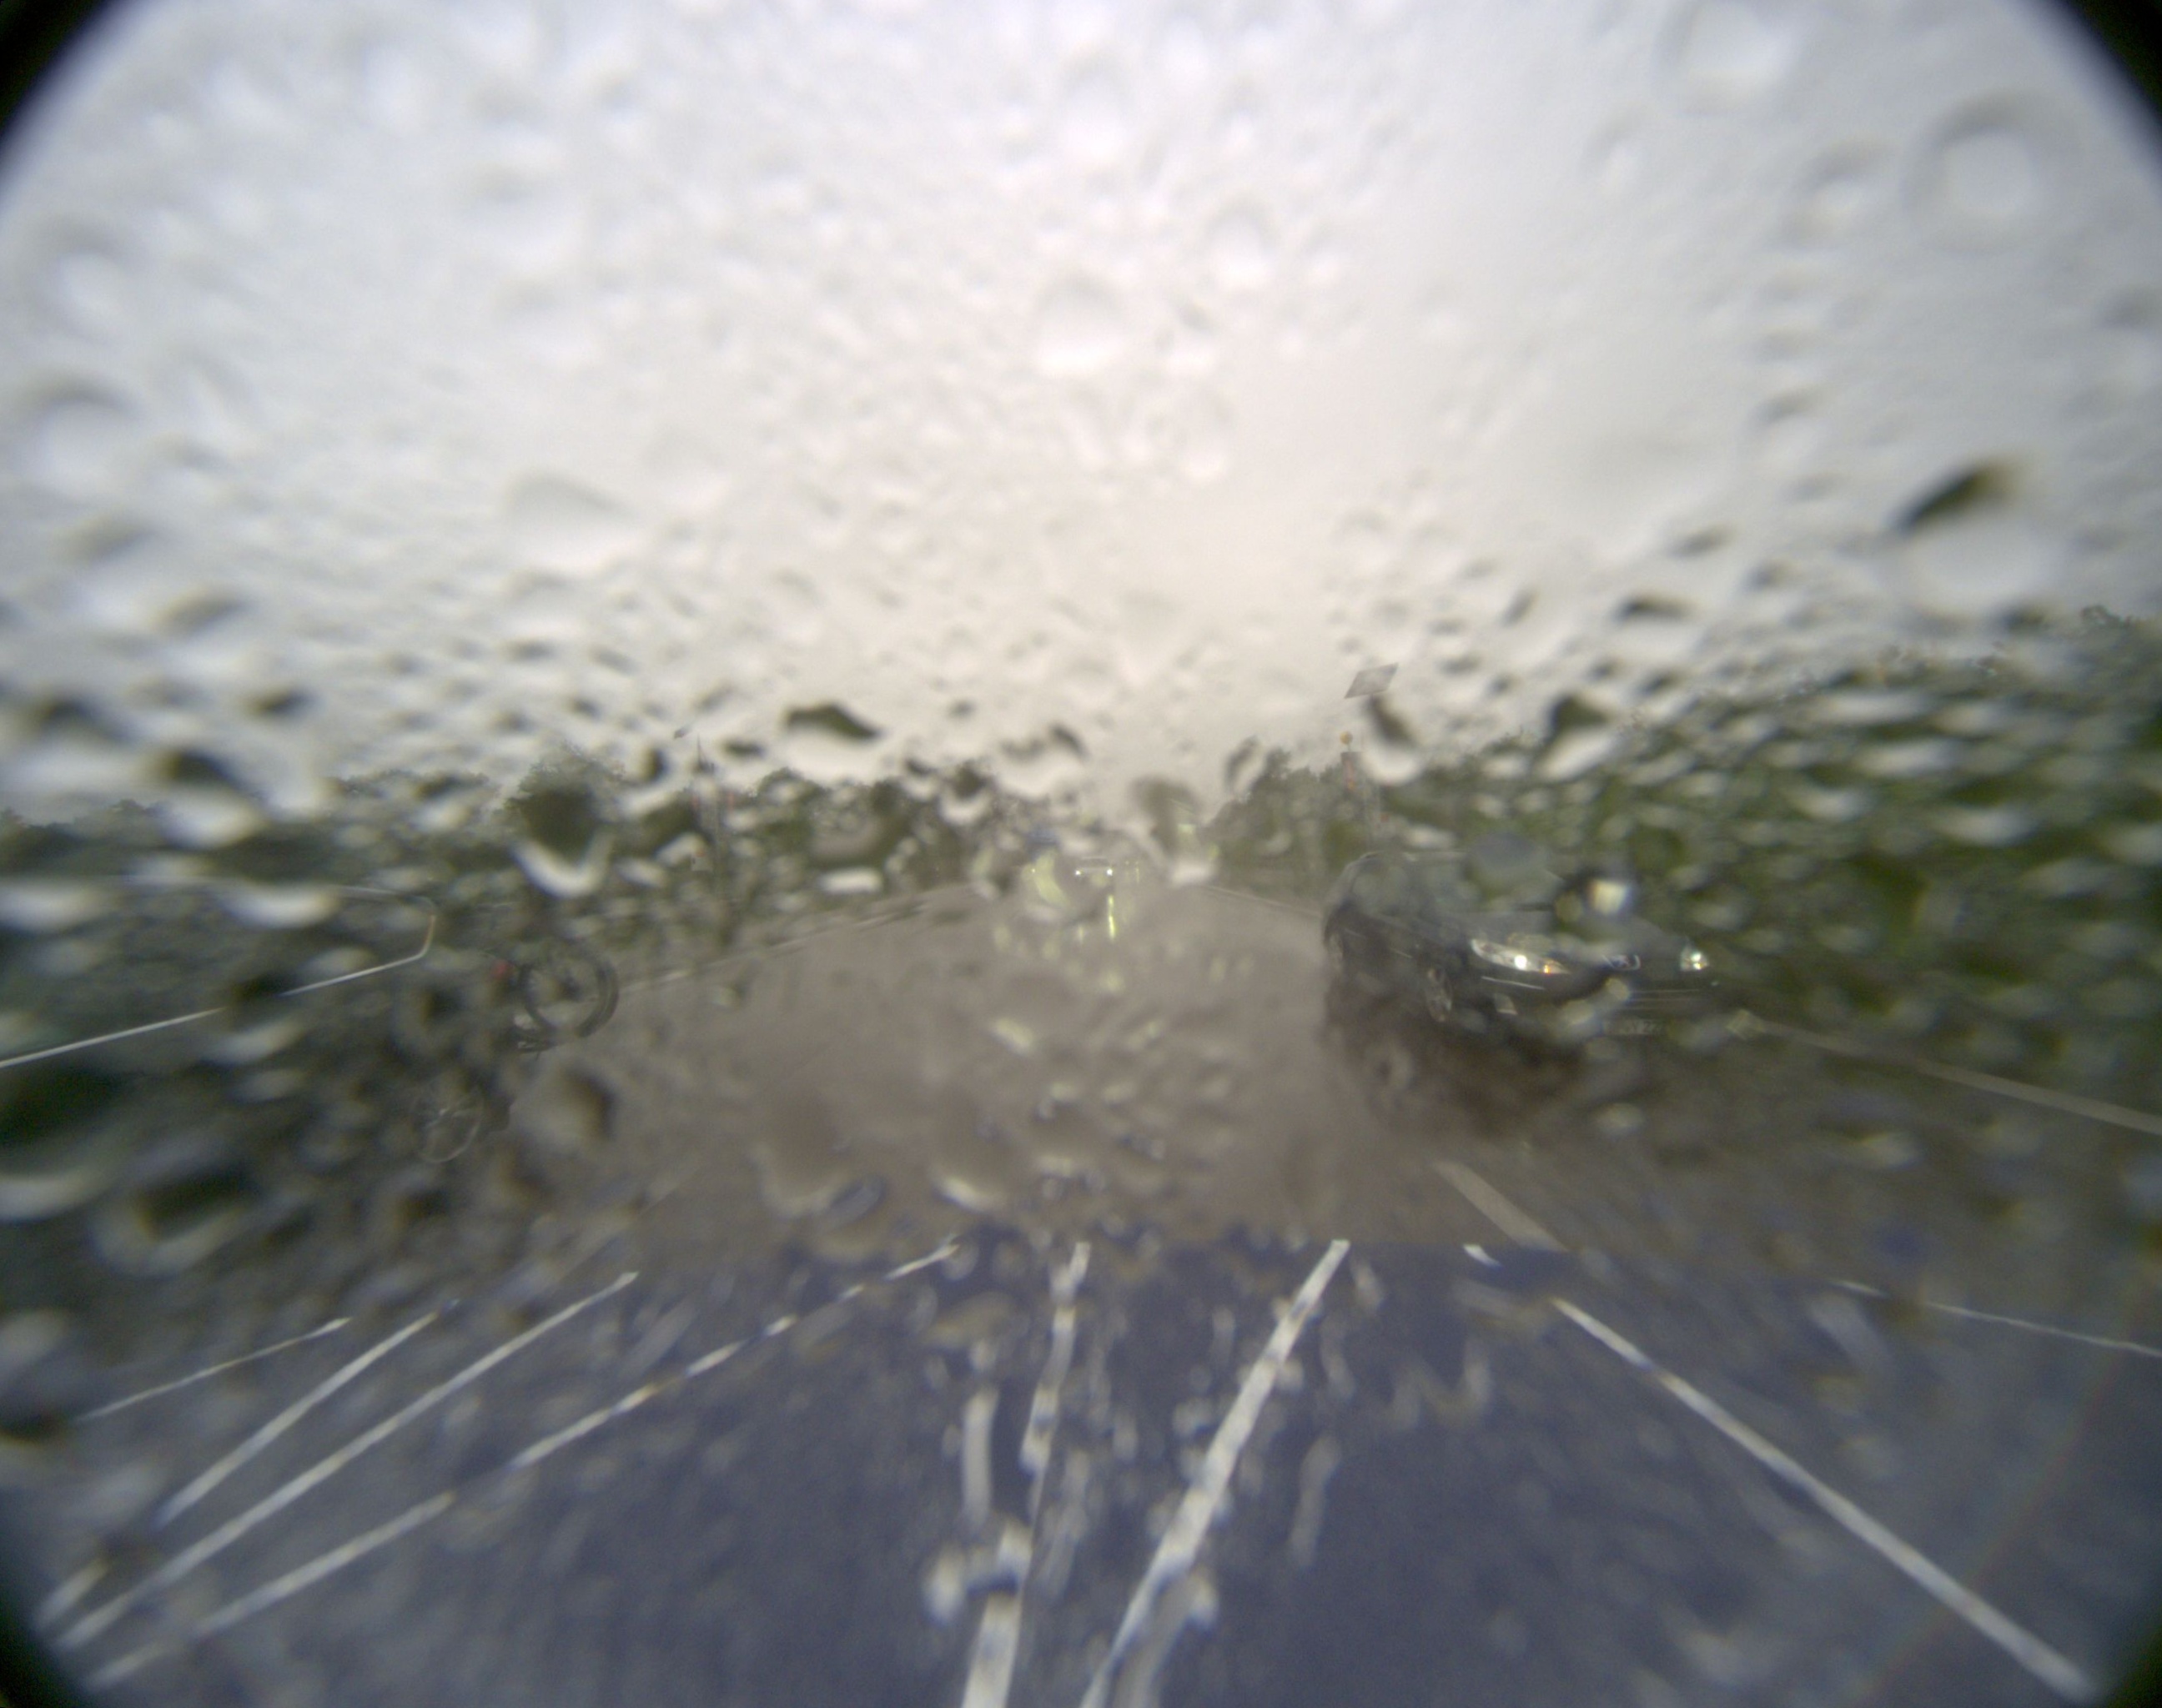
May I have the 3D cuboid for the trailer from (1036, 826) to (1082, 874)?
[{"bbox_3d":[-1.852,-0.345,70.157,2.750,3.940,14.133,-2,0,4],"label":"trailer"}]

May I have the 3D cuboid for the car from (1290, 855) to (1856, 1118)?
[{"bbox_3d":[3.645,0.805,7.121,2.059,1.477,5.158,-2,0,2],"label":"car"}]

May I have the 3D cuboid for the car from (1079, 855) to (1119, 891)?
[{"bbox_3d":[0.866,0.862,36.113,1.751,1.545,4.090,-2,0,2],"label":"car"}]

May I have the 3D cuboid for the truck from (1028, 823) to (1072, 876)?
[{"bbox_3d":[-2.434,-0.367,62.147,2.754,4.055,6.484,-2,0,4],"label":"truck"}]

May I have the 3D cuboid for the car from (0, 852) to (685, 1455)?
[{"bbox_3d":[-4.372,0.910,3.035,2.463,1.736,5.718,-2,0,1],"label":"car"}]

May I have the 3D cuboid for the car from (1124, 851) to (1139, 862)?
[{"bbox_3d":[7.110,0.368,106.928,1.900,1.533,4.090,-2,0,2],"label":"car"}]
